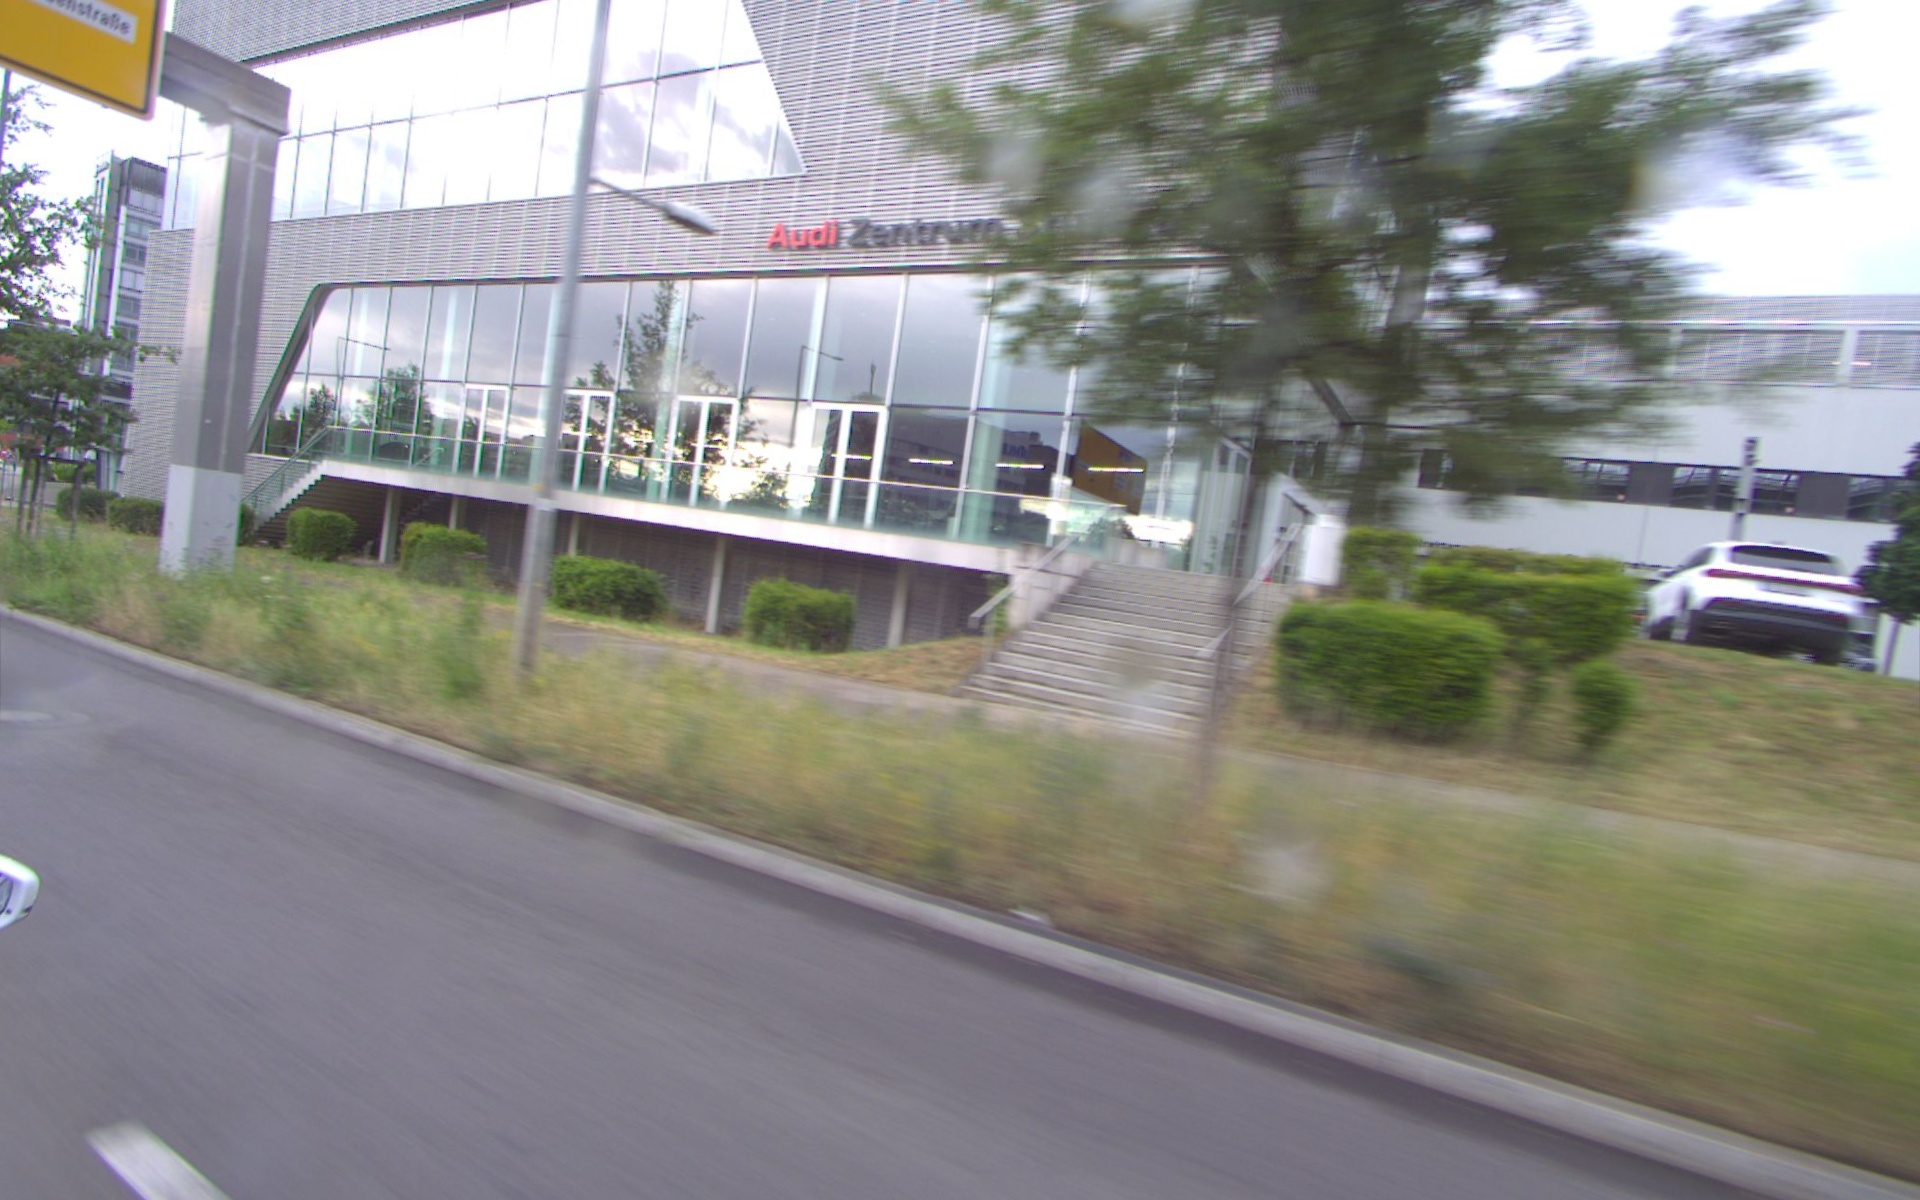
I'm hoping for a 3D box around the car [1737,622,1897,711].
[{"bbox_3d":[18.813,1.506,22.304,1.729,1.593,4.114,7,-1,29],"label":"car"}]

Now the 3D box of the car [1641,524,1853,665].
[{"bbox_3d":[11.570,0.017,15.097,1.663,1.593,4.268,7,-1,29],"label":"car"}]

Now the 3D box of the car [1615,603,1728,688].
[{"bbox_3d":[16.341,1.113,23.283,1.664,1.593,4.112,7,-1,31],"label":"car"}]
